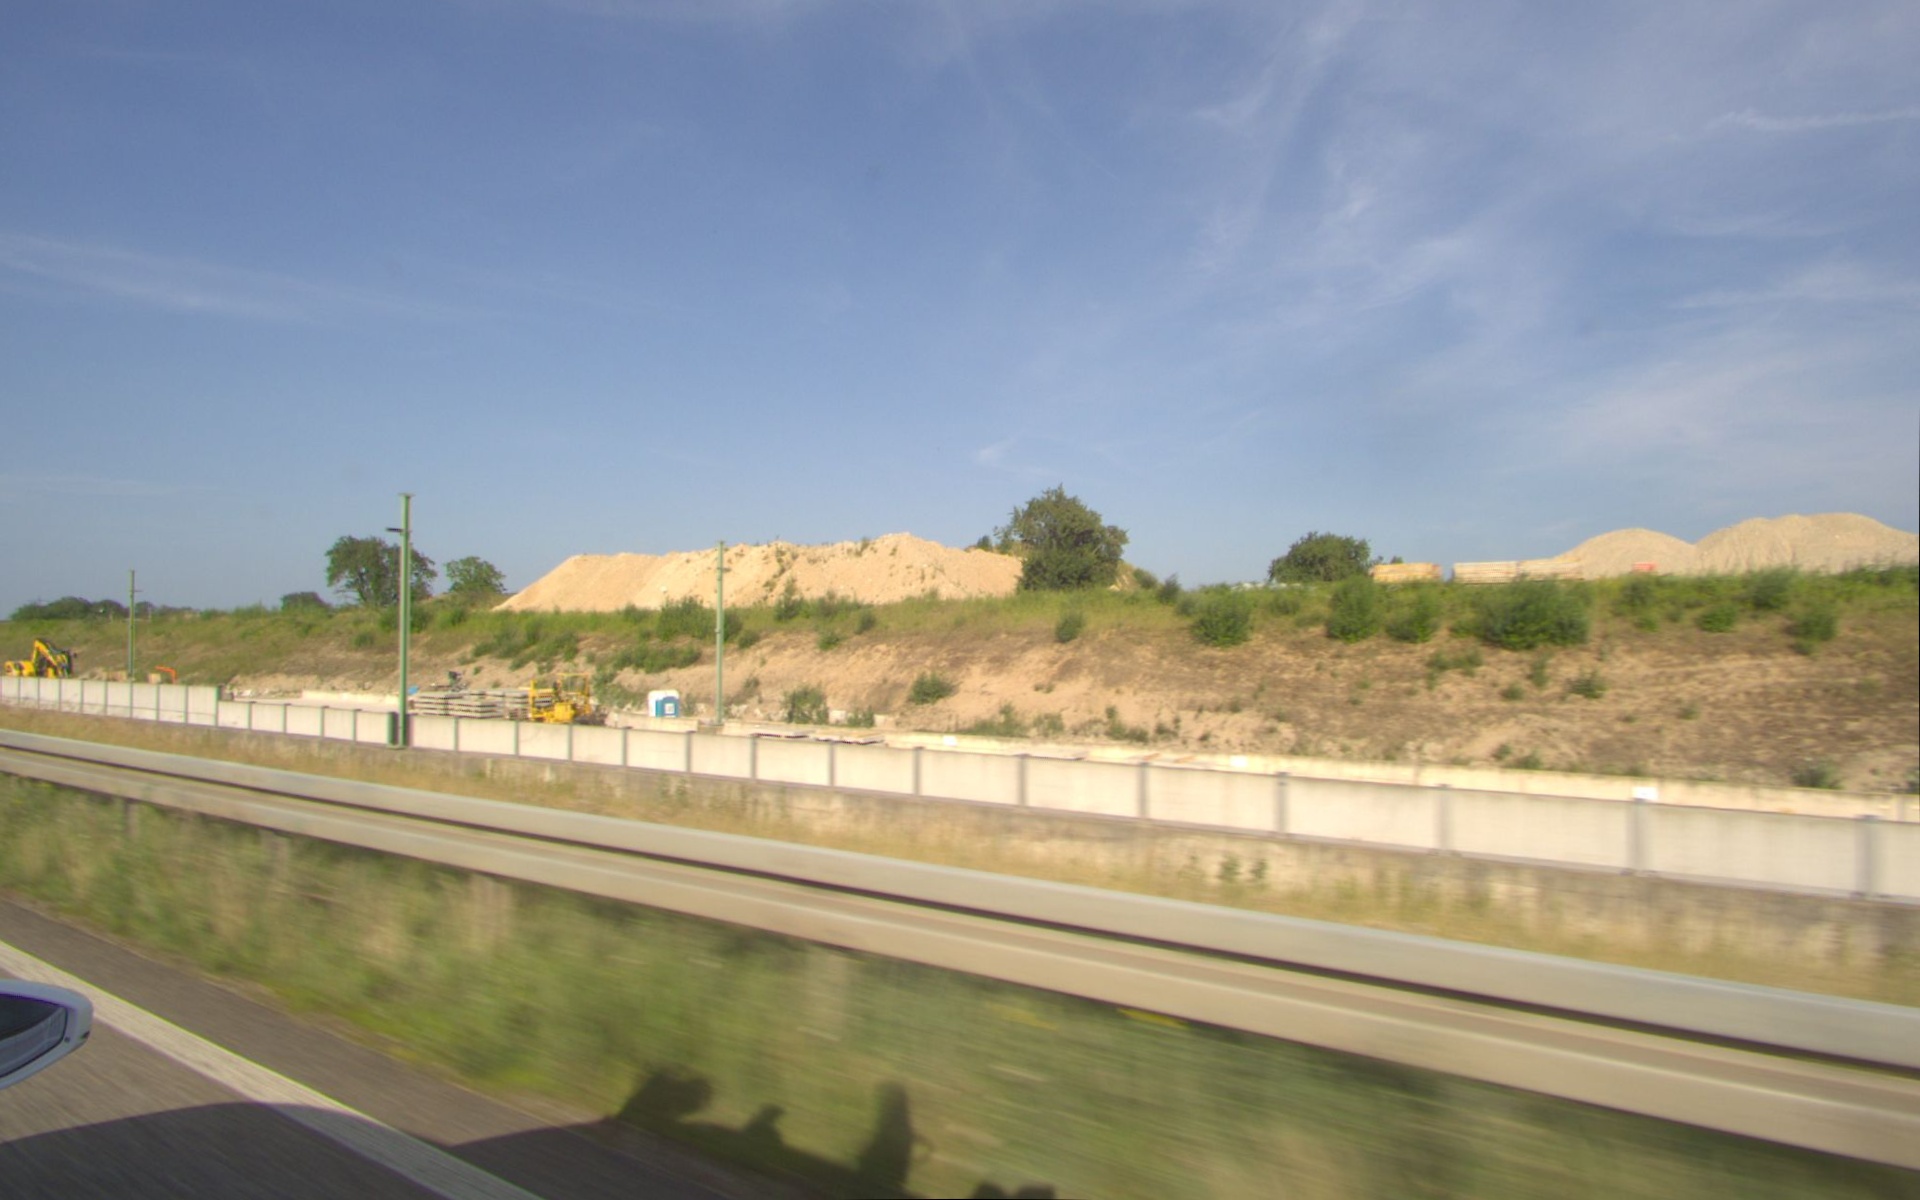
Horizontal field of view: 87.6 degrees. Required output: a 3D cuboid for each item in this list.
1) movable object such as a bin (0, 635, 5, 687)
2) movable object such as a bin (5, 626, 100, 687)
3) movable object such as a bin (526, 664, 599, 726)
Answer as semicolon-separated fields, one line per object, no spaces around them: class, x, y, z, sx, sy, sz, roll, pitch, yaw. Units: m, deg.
movable object such as a bin;-64.836;3.884;64.625;7.955;3.281;2.618;-1;-1;31
movable object such as a bin;-61.511;3.741;67.835;7.427;3.936;2.793;-1;-1;31
movable object such as a bin;-18.823;4.439;47.400;2.875;2.696;2.007;1;-1;-33
